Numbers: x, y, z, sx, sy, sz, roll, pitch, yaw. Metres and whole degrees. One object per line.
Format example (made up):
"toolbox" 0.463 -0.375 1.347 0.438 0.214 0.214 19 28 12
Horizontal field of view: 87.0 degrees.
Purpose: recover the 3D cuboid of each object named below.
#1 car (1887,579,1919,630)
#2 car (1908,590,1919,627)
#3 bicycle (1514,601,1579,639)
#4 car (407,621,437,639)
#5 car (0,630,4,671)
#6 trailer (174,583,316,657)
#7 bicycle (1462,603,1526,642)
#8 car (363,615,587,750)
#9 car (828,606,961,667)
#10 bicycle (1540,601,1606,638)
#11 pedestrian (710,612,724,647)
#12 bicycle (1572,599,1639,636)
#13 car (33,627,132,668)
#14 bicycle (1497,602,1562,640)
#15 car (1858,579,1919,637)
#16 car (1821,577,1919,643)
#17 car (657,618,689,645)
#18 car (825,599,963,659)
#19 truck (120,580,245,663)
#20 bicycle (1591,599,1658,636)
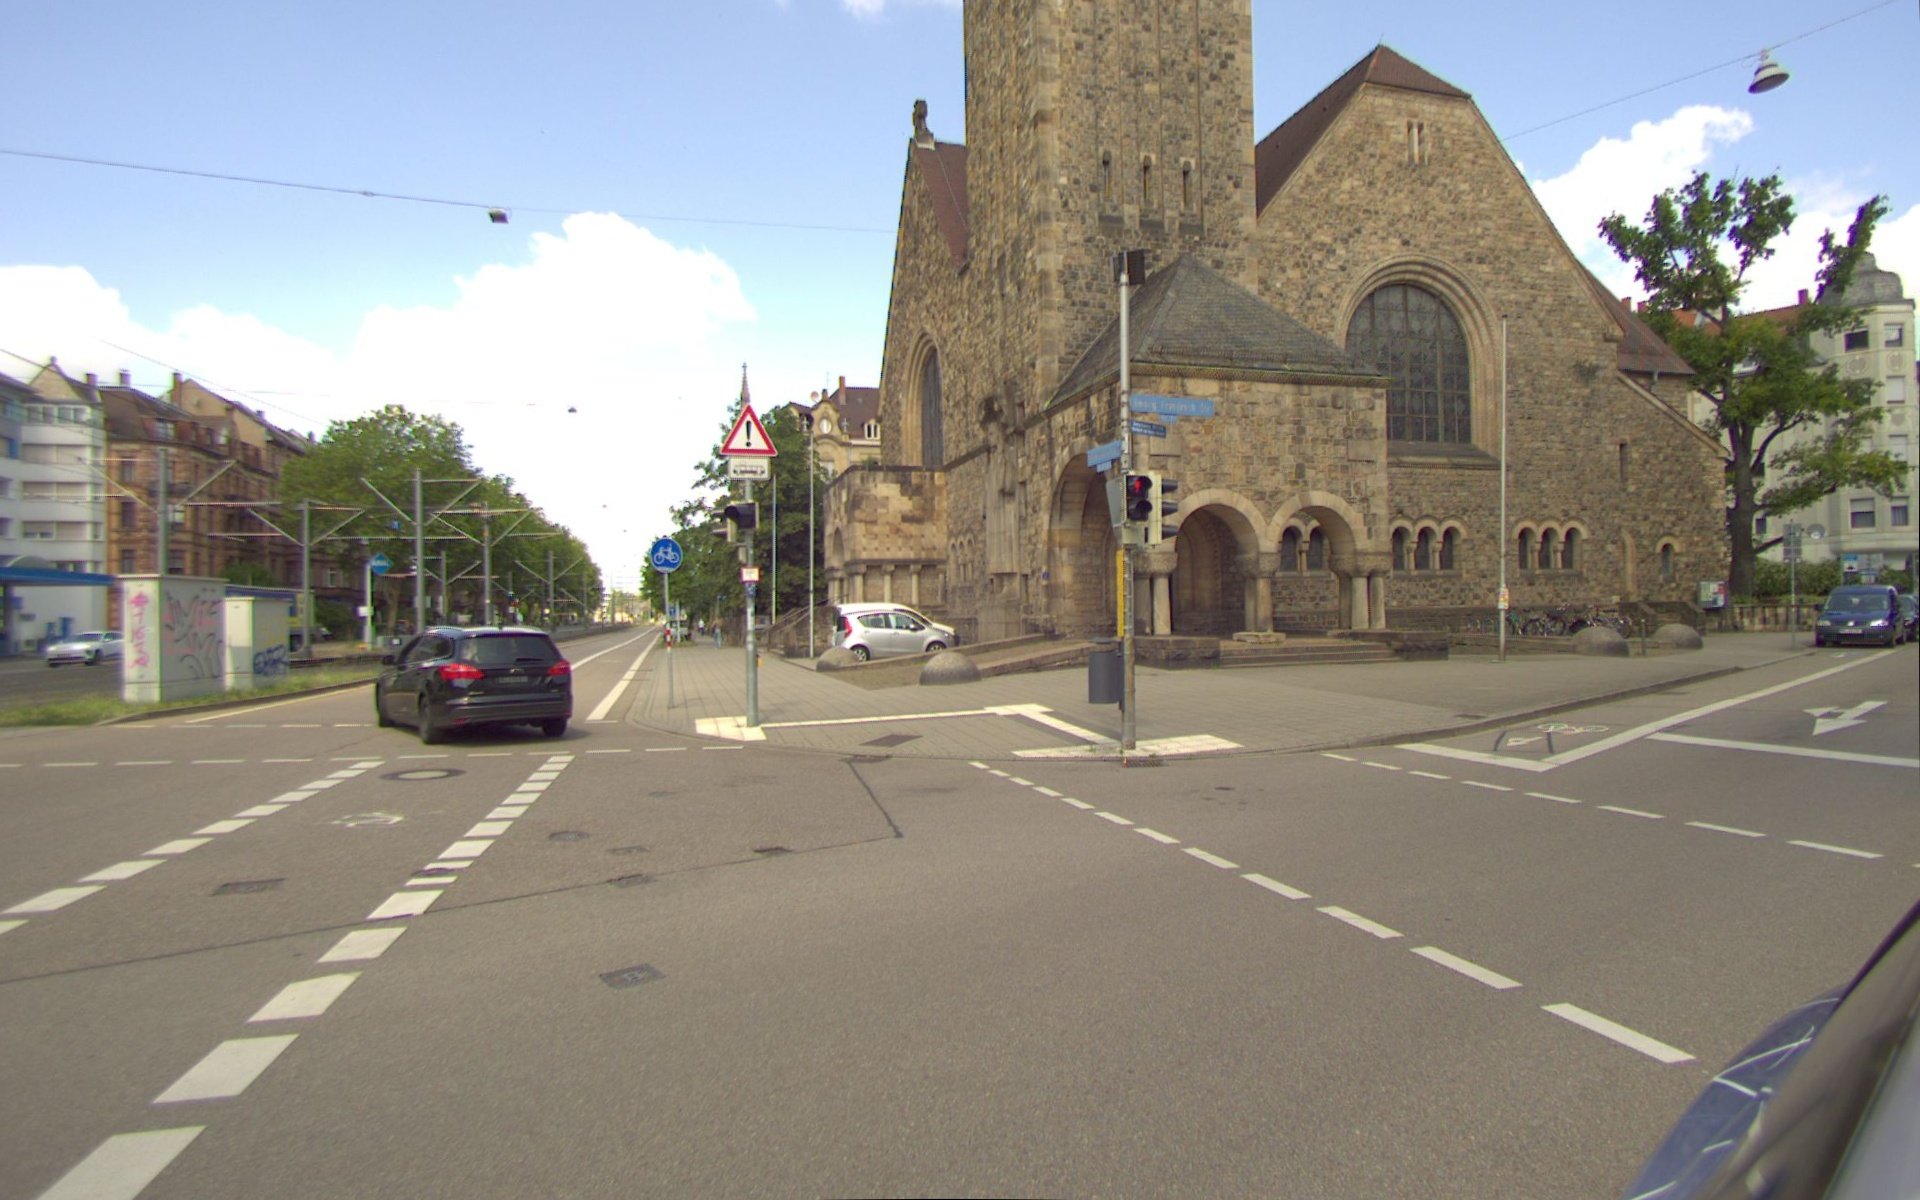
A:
"car" 35.723 0.159 37.341 3.929 1.814 1.682 0 -1 -40
"car" 39.270 0.309 40.339 3.730 1.465 1.682 0 -1 -40
"bicycle" 19.207 0.646 33.190 0.574 1.126 1.944 -1 2 -19
"car" -54.833 3.063 103.181 1.766 1.651 4.007 -1 0 -15
"car" -37.504 1.957 37.348 1.651 1.583 3.759 -1 -1 -15
"trailer" -44.268 1.177 63.252 2.857 4.129 11.671 -1 0 -12
"bicycle" 17.088 0.701 32.449 0.574 1.126 1.944 -1 2 -19
"car" -6.870 1.016 14.087 1.754 1.554 4.378 0 -1 -40
"car" -1.945 1.083 29.742 3.561 1.701 1.822 1 -3 -19
"bicycle" 20.179 0.620 33.354 0.574 1.126 1.944 -1 2 -19
"pedestrian" -11.861 1.452 49.434 0.645 1.686 0.847 -1 -1 -14
"bicycle" 21.605 0.583 33.892 0.574 1.126 1.944 -1 2 -19
"car" -40.475 2.142 46.812 1.816 1.727 4.142 -1 -1 -15
"bicycle" 18.540 0.664 32.975 0.574 1.126 1.944 -1 2 -19
"car" 31.062 0.258 33.289 3.929 1.814 1.682 0 -1 -40
"car" 27.092 0.281 29.996 4.072 1.814 1.681 0 -1 -40
"car" -17.401 1.887 61.456 1.752 1.514 3.844 -2 -1 -16
"car" -2.202 0.963 33.286 4.214 1.878 2.003 0 -3 -16
"truck" -42.682 1.134 55.829 2.857 4.202 6.602 -1 0 -12
"bicycle" 22.364 0.563 34.105 0.574 1.126 1.944 -1 2 -19
